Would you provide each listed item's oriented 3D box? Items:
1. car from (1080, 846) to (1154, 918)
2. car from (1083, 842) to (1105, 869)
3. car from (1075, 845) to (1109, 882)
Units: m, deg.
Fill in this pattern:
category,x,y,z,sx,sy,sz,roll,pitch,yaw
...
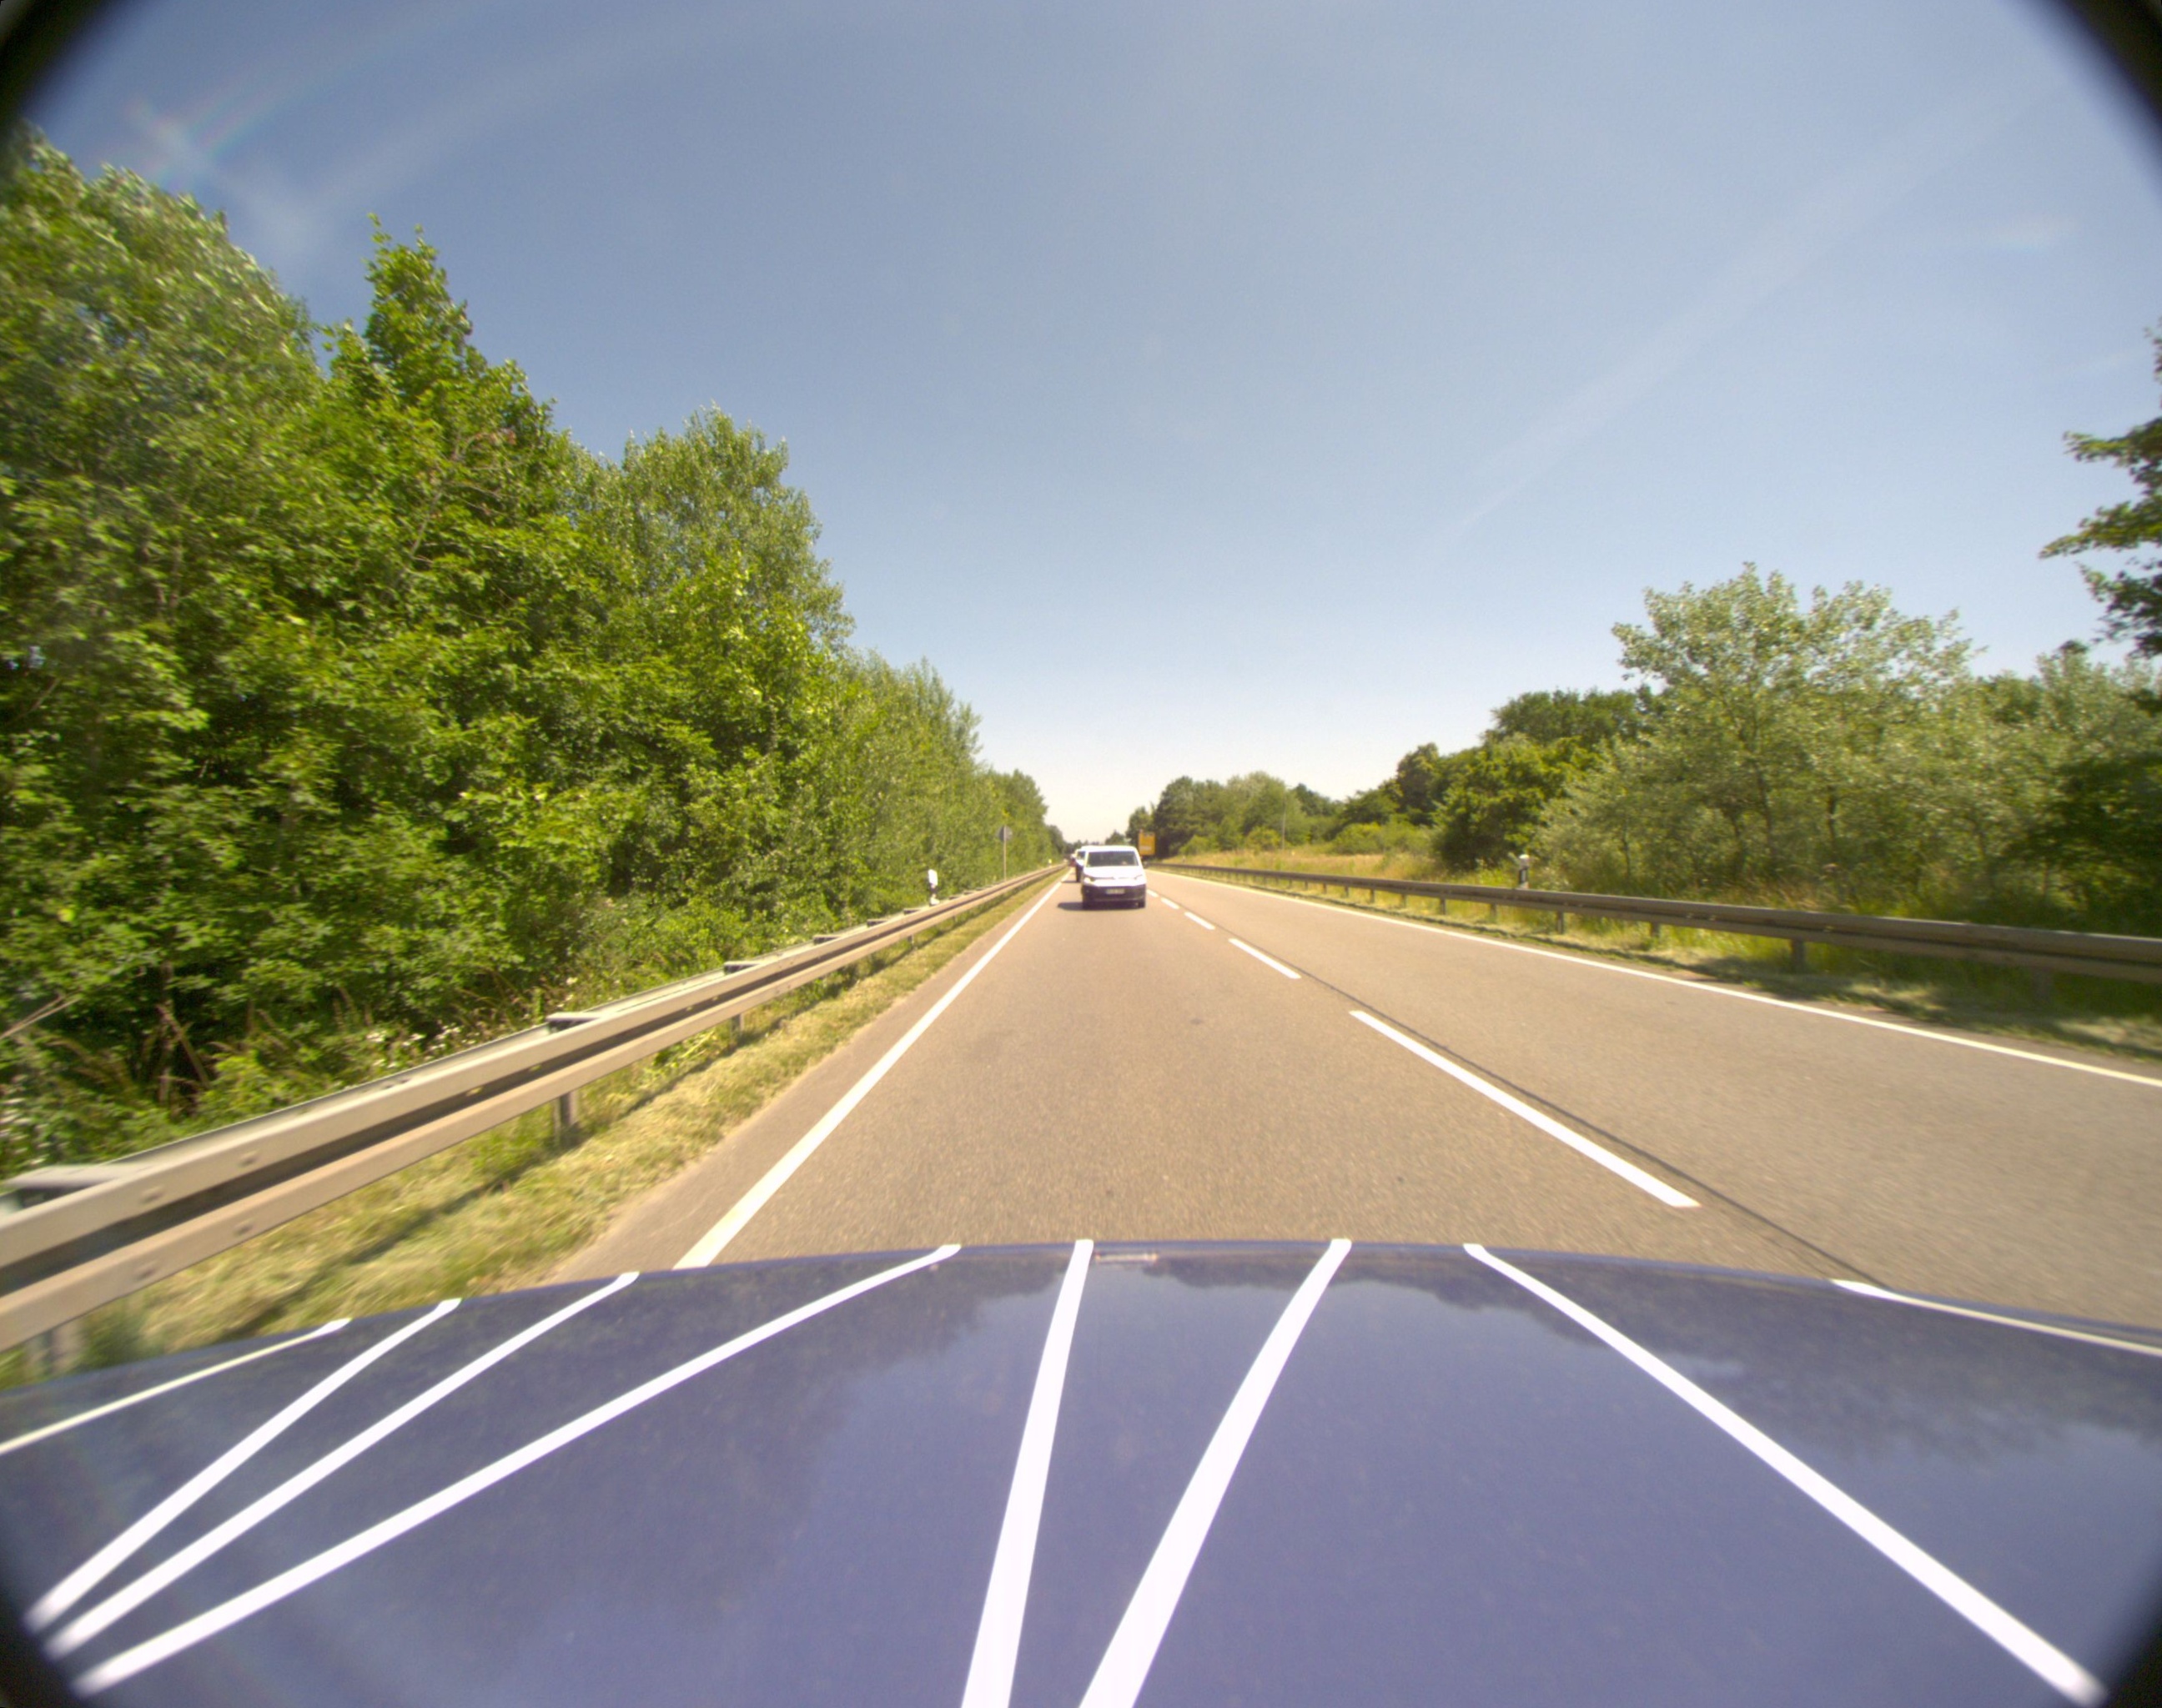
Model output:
category,x,y,z,sx,sy,sz,roll,pitch,yaw
car,0.929,0.677,21.275,1.782,1.743,4.512,-2,0,1
car,1.135,0.086,67.951,1.782,2.287,4.105,-2,1,1
car,0.632,0.492,43.195,1.782,1.960,4.105,-2,1,1
